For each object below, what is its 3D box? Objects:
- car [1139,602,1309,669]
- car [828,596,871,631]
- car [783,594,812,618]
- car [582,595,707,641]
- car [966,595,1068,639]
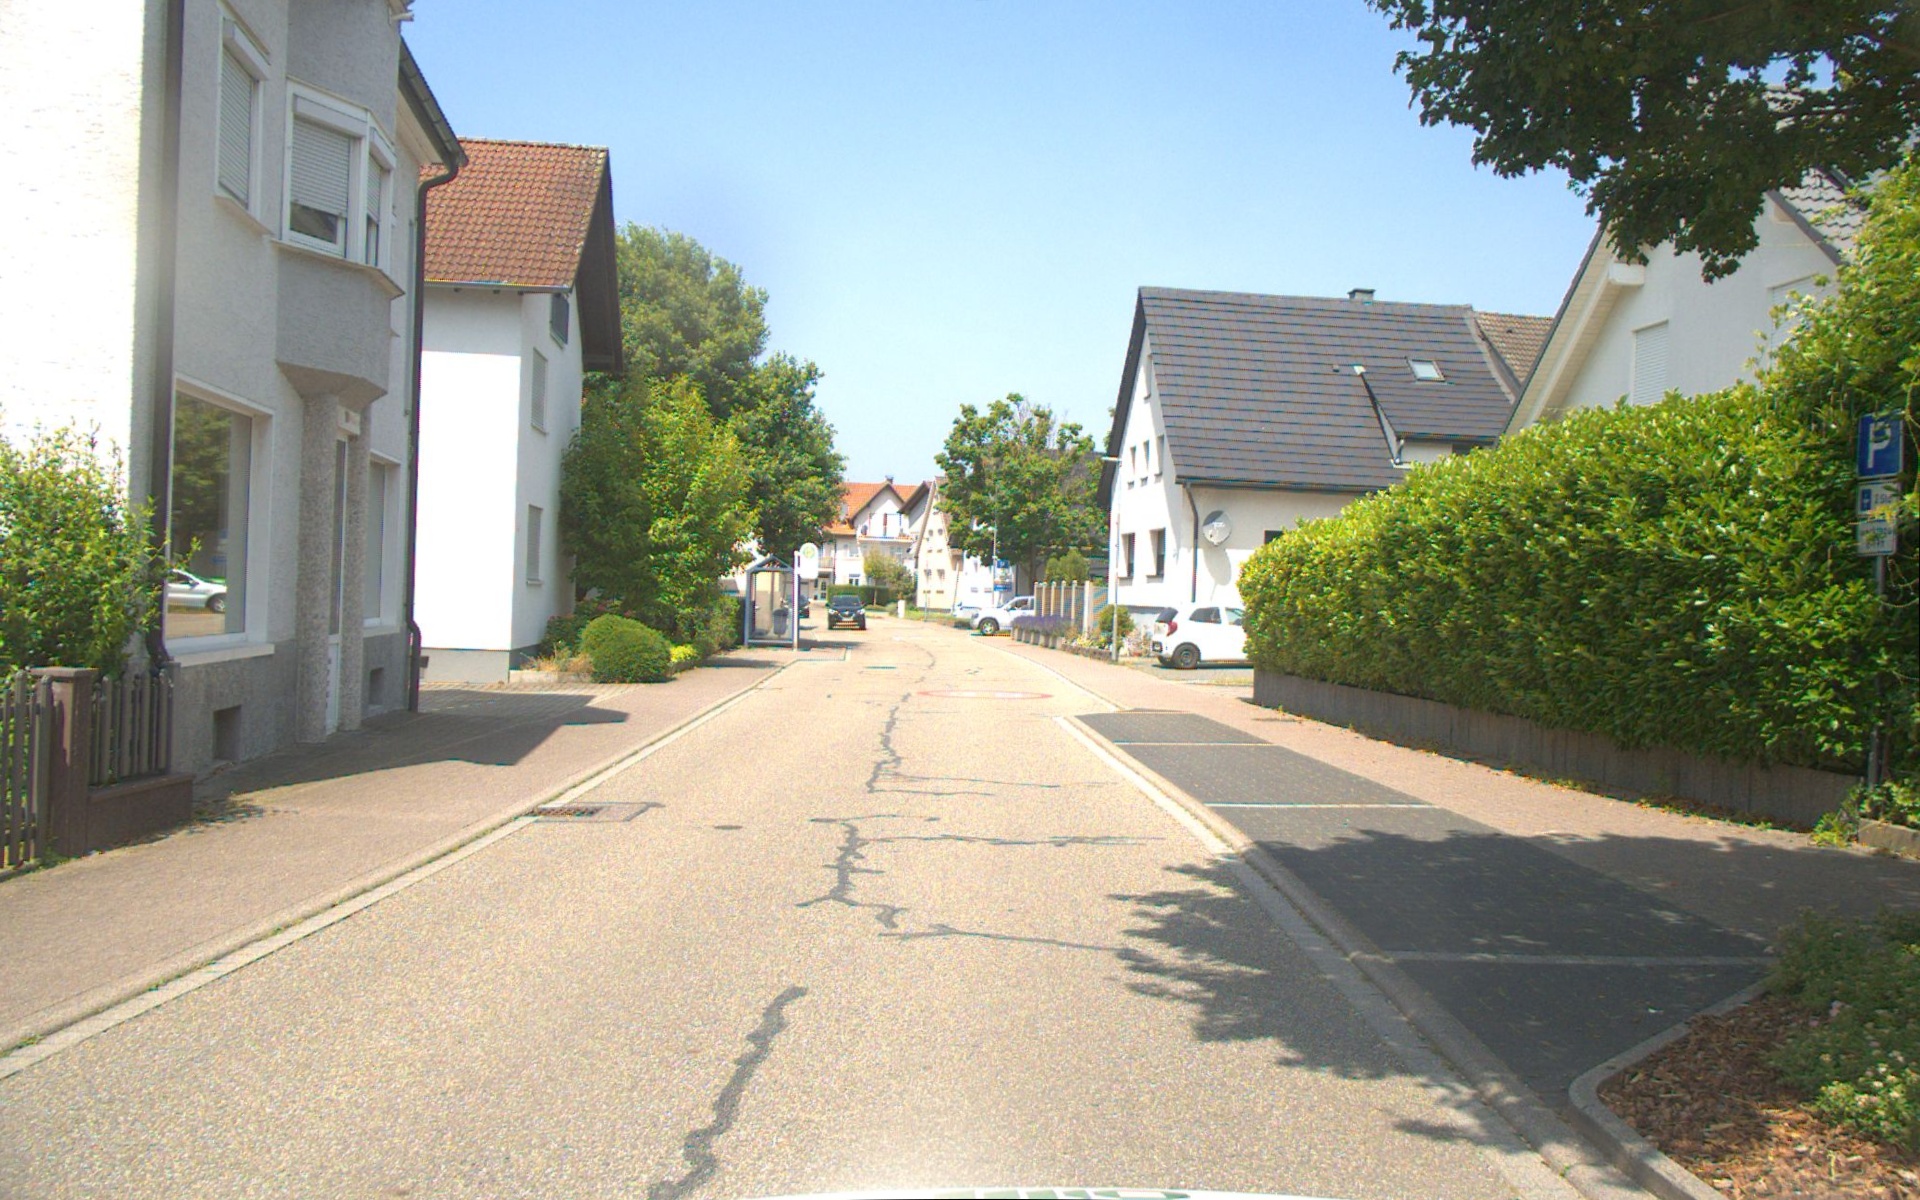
[{"bbox_3d":[6.180,0.829,38.889,3.589,1.500,1.762,0,1,-9],"label":"car"},{"bbox_3d":[-5.265,0.633,79.253,1.739,1.652,4.105,0,0,0],"label":"car"},{"bbox_3d":[-10.517,0.358,106.927,1.597,1.512,3.990,1,0,-10],"label":"car"},{"bbox_3d":[-10.849,0.609,57.104,4.080,1.565,1.771,0,0,-7],"label":"car"},{"bbox_3d":[2.442,0.716,71.152,4.231,1.798,1.890,-1,0,-3],"label":"car"}]
